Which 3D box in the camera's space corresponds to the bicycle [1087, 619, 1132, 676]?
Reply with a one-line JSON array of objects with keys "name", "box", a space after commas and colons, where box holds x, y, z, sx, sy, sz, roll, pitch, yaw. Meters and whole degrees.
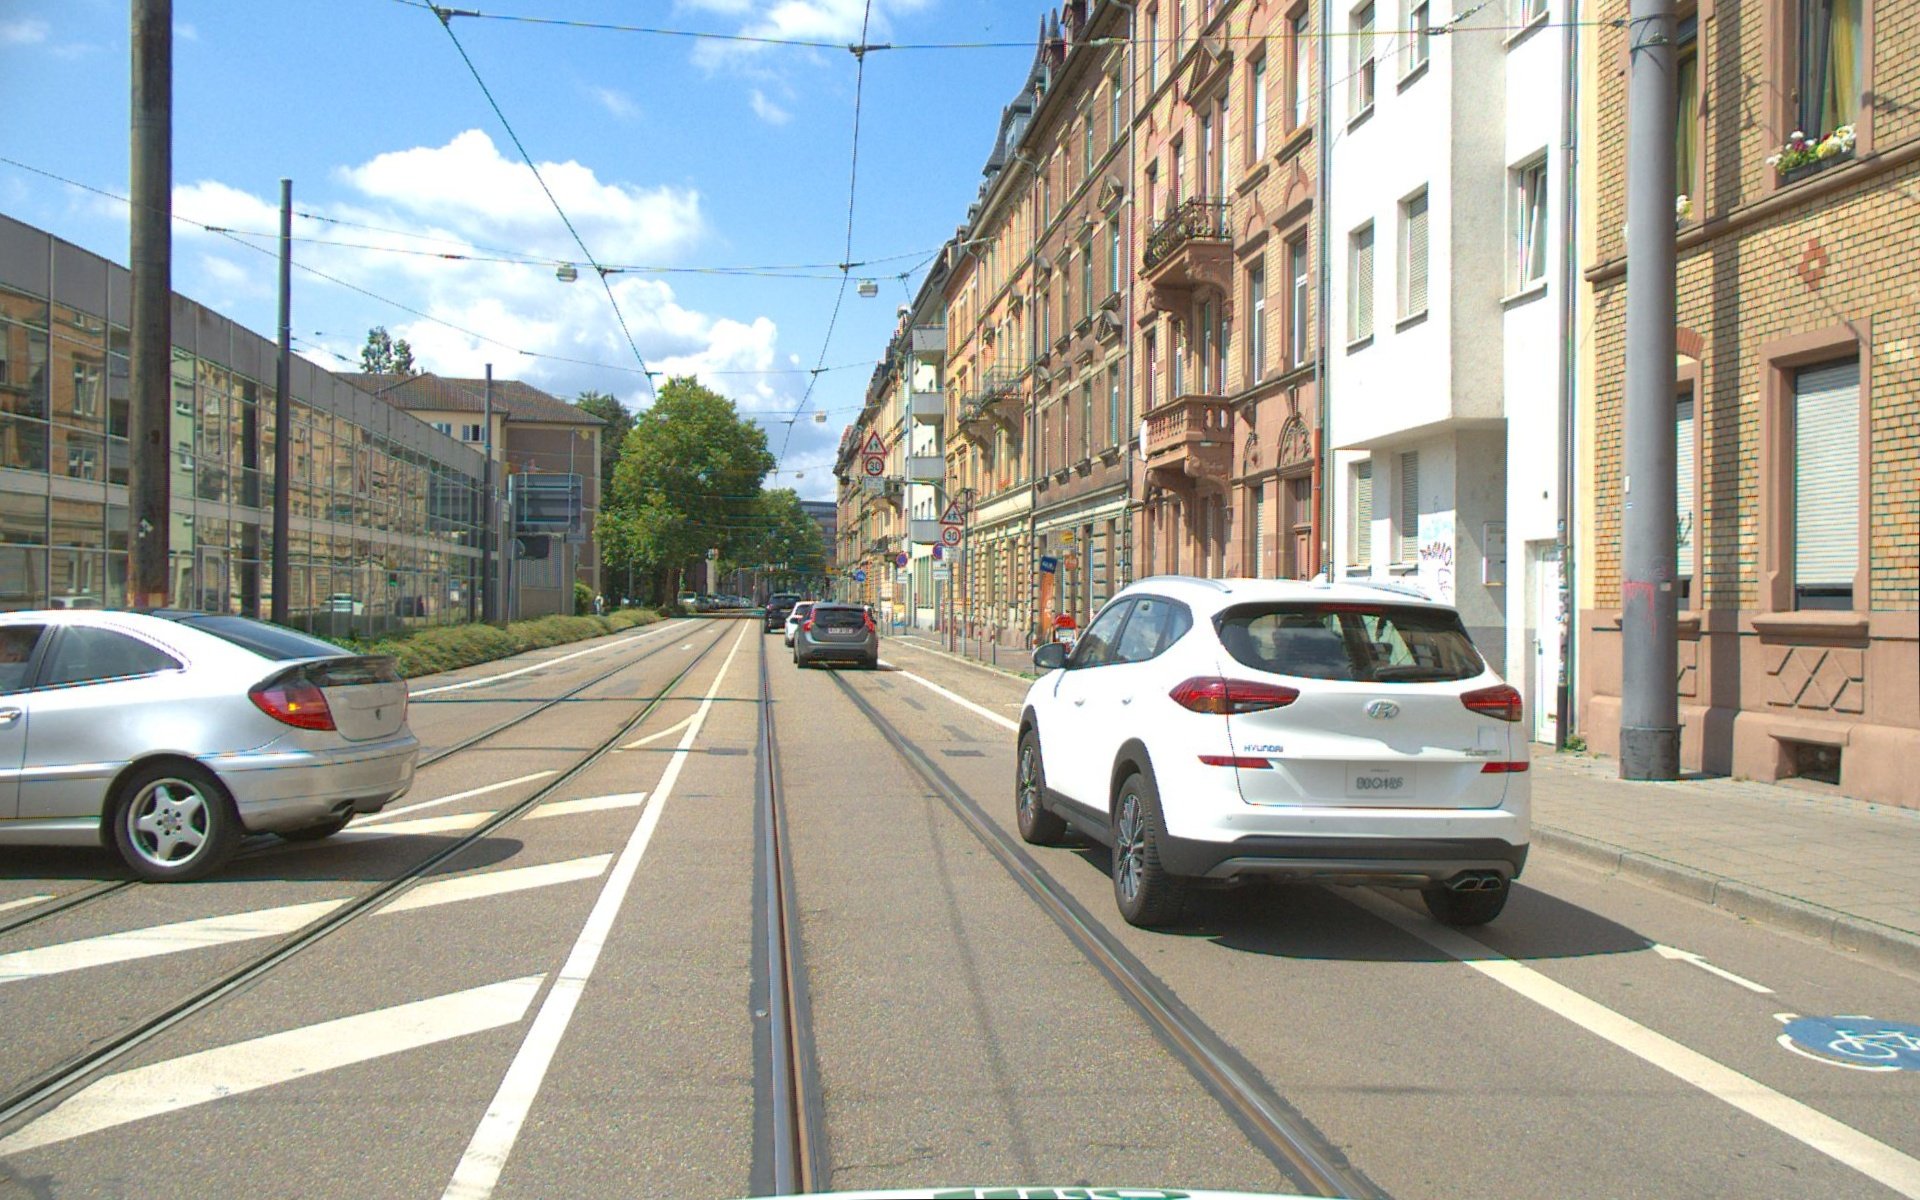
[{"name": "bicycle", "box": [3.305, 1.024, 36.646, 0.575, 1.199, 2.202, 1, 0, -6]}]

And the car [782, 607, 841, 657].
[{"name": "car", "box": [-4.875, 1.001, 53.789, 1.780, 1.551, 3.949, 0, 0, -7]}]

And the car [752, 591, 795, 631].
[{"name": "car", "box": [-8.328, 0.471, 73.695, 1.780, 1.691, 4.078, 1, 0, -7]}]

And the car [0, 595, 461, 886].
[{"name": "car", "box": [-5.151, 0.697, 9.314, 4.085, 1.445, 1.822, 0, 0, 6]}]

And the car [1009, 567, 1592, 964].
[{"name": "car", "box": [1.544, 0.711, 9.132, 1.818, 1.662, 4.172, 1, 0, -8]}]

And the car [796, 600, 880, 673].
[{"name": "car", "box": [-2.786, 0.793, 37.961, 1.779, 1.551, 4.081, 1, 0, -4]}]
